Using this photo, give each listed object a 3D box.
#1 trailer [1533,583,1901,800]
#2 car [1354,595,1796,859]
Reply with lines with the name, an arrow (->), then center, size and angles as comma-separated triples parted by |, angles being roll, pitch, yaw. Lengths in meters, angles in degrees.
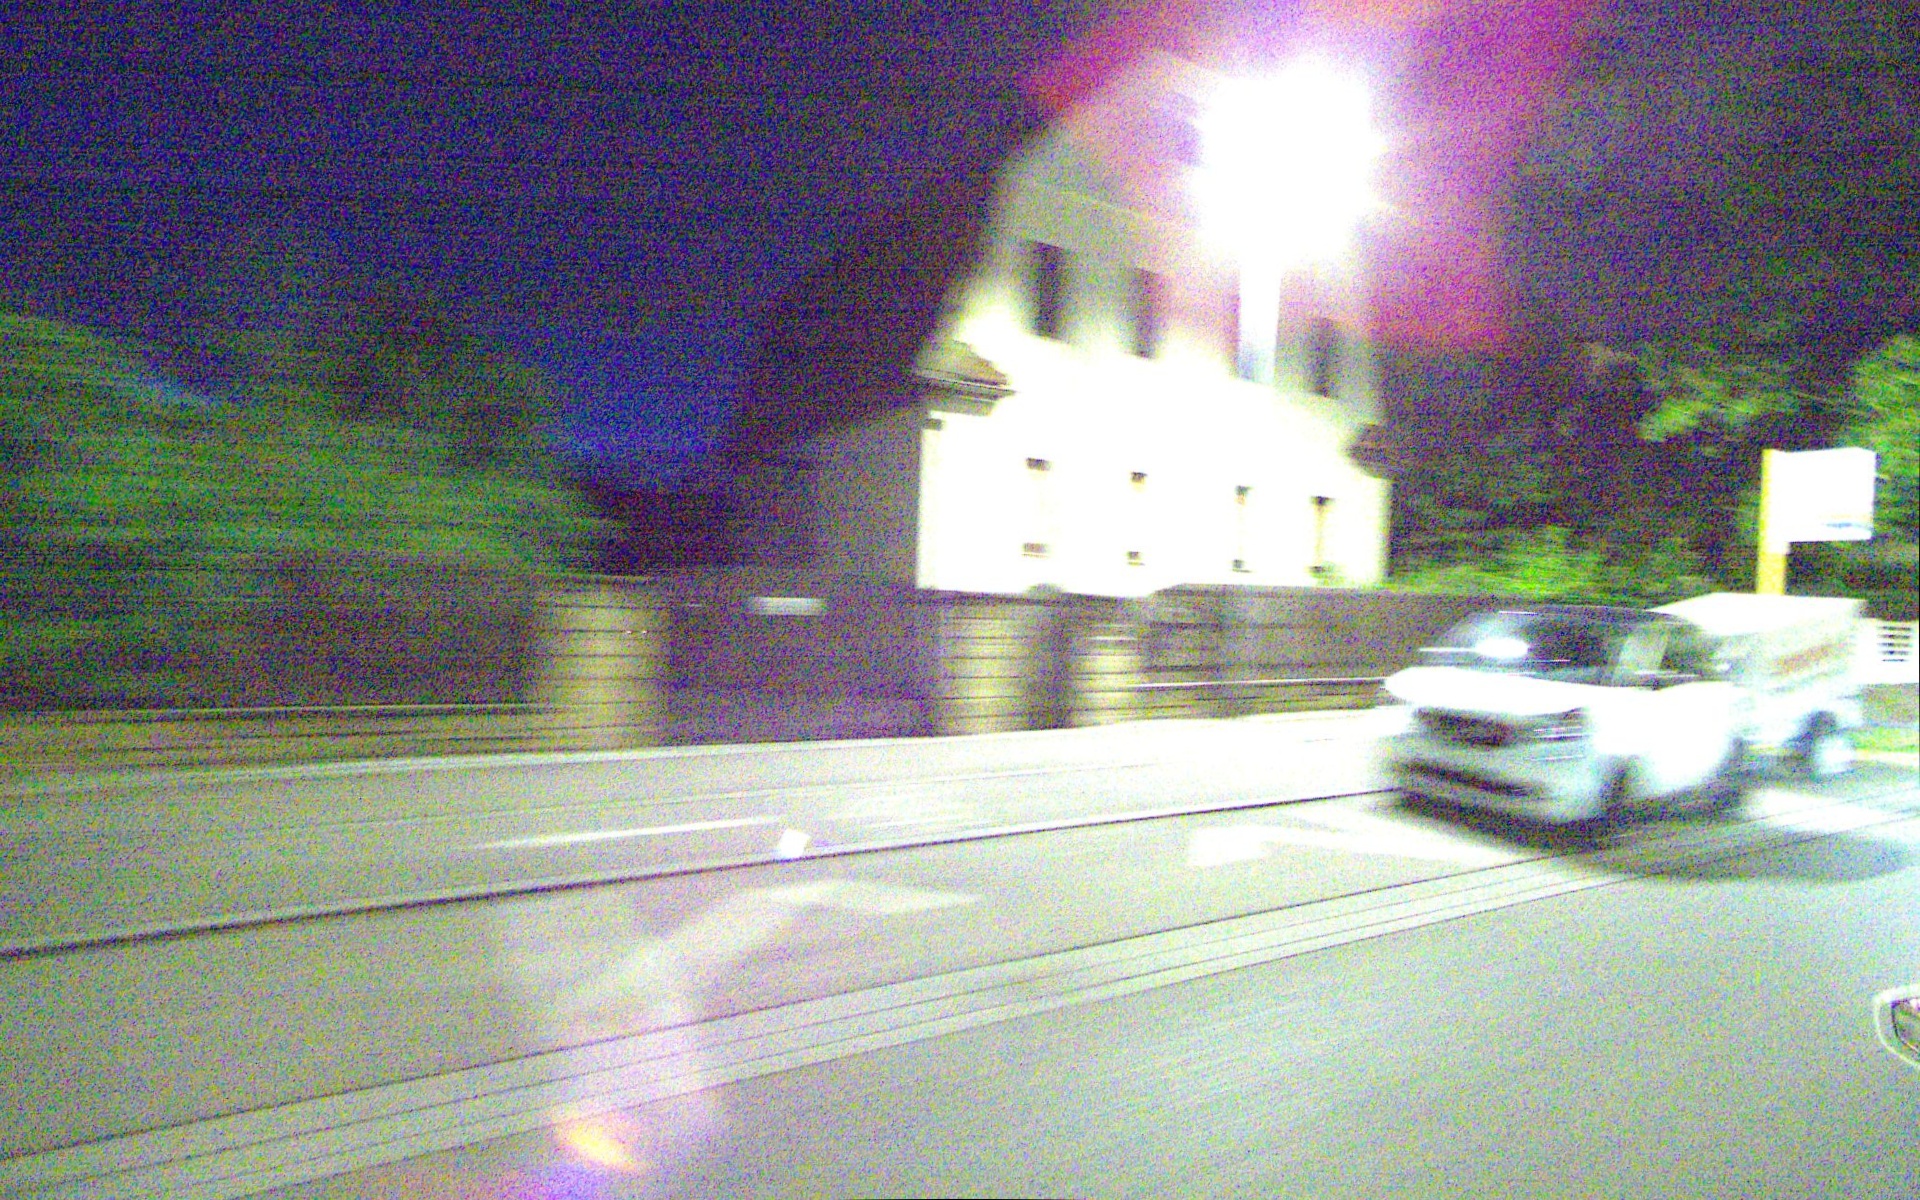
trailer -> 7.269, 0.783, 9.612 | 3.383, 1.711, 1.442 | 2, 2, -28
car -> 4.686, 0.811, 7.641 | 2.946, 1.542, 1.662 | 1, 3, -32
